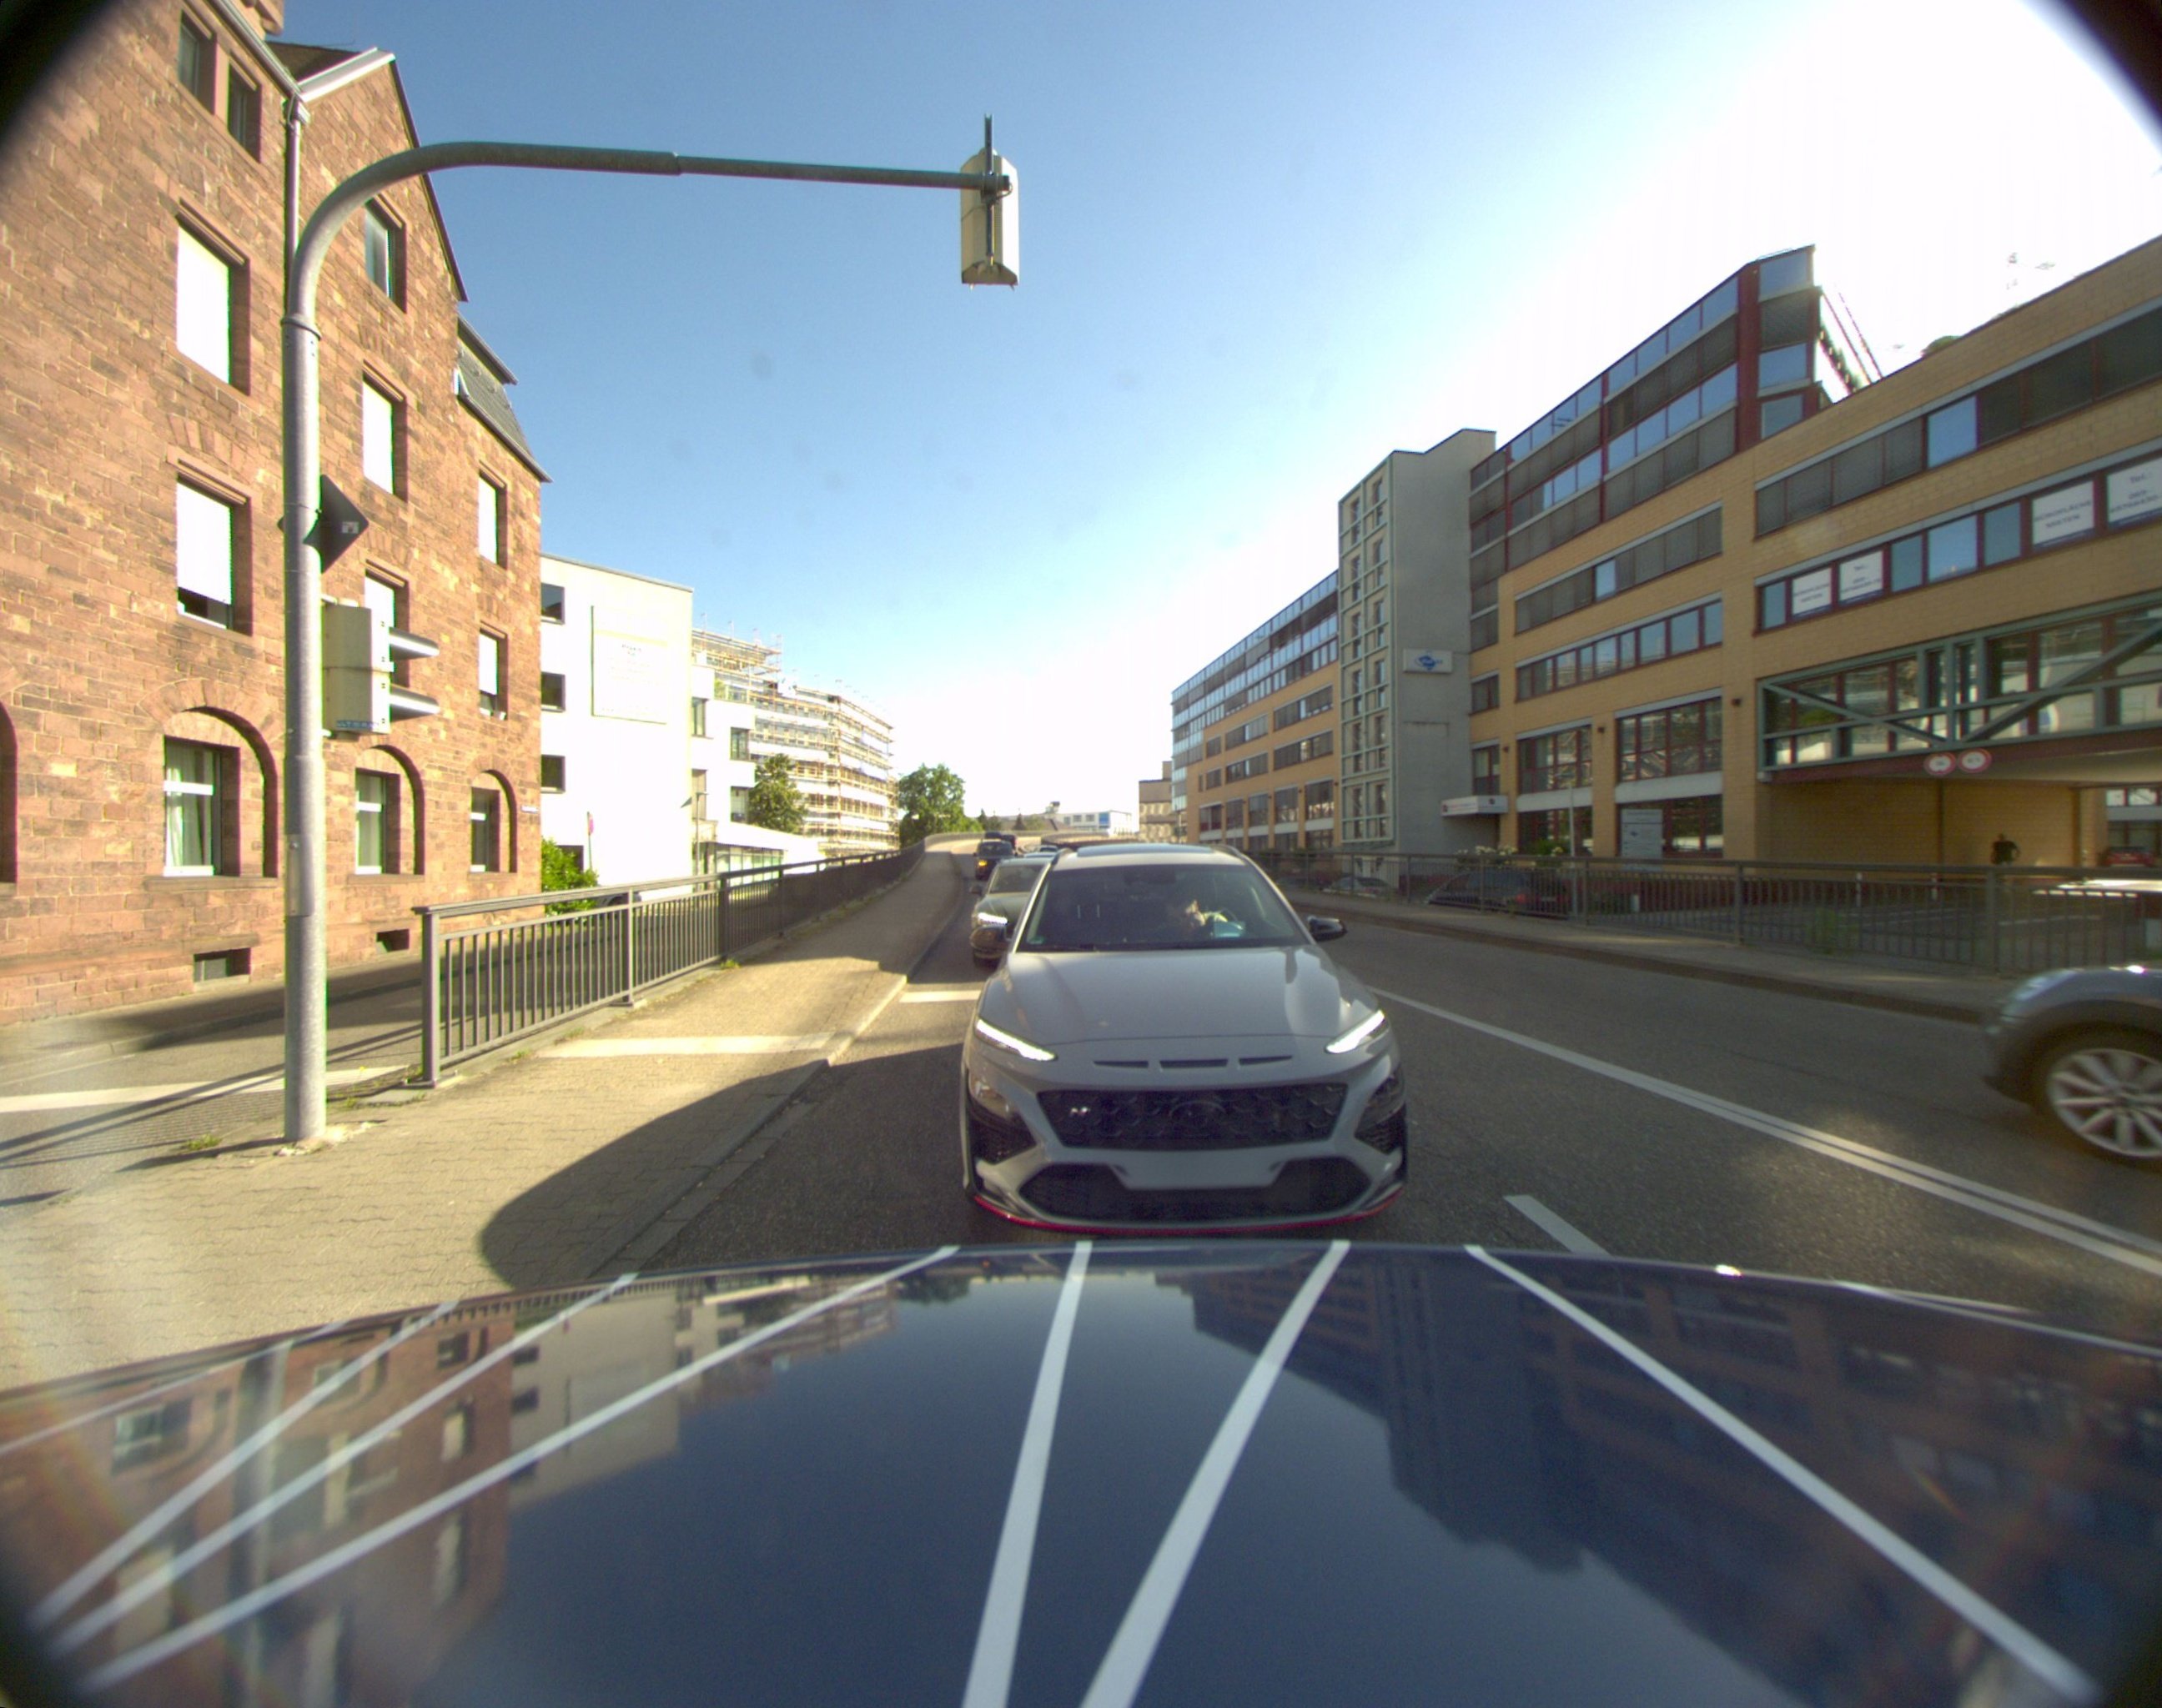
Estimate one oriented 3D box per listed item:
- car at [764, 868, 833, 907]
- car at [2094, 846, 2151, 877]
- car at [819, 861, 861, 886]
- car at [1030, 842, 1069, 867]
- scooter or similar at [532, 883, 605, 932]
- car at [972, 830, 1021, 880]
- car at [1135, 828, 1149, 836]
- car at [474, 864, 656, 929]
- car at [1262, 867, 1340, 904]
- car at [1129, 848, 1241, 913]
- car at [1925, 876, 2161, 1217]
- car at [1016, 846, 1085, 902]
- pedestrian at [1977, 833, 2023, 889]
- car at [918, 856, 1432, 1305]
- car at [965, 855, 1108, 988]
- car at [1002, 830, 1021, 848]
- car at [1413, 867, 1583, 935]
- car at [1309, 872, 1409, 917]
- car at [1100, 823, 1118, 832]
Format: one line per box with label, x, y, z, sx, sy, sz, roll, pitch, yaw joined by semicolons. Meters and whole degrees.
car;-13.049;1.502;35.427;1.850;1.422;4.678;-1;2;-6
car;53.693;0.394;39.211;3.159;1.564;1.639;0;-1;-38
car;-15.532;1.249;49.174;1.850;1.526;3.997;0;0;-7
car;-2.061;-0.009;48.522;1.826;1.495;4.445;0;1;-11
scooter or similar;-14.278;1.480;21.204;1.463;1.212;0.784;-3;1;-14
car;-4.090;-0.020;36.229;1.911;2.201;4.593;-1;1;-11
car;14.042;-5.168;175.624;1.821;1.594;4.008;4;1;26
car;-16.985;1.310;25.219;1.823;1.757;4.658;1;2;42
car;10.285;1.430;35.856;1.826;1.594;4.353;0;0;-10
car;2.808;0.643;21.644;1.840;1.643;4.624;0;0;-10
car;5.631;0.844;2.248;1.691;1.448;3.911;2;-1;-7
car;-1.085;0.569;24.651;1.850;1.527;4.504;-1;2;-7
pedestrian;30.456;0.225;25.189;0.787;1.833;0.678;0;0;-12
car;0.382;0.842;4.883;1.849;1.561;4.220;-1;1;1
car;-0.659;0.835;11.407;1.721;1.483;4.166;-1;2;-3
car;-7.997;-1.736;87.738;1.999;1.924;4.850;0;0;-4
car;12.400;1.309;23.019;1.957;1.747;4.683;-1;0;-11
car;11.080;1.569;30.601;1.826;1.594;4.353;0;0;-10
car;6.001;-5.555;160.742;1.811;1.791;5.130;0;0;26
